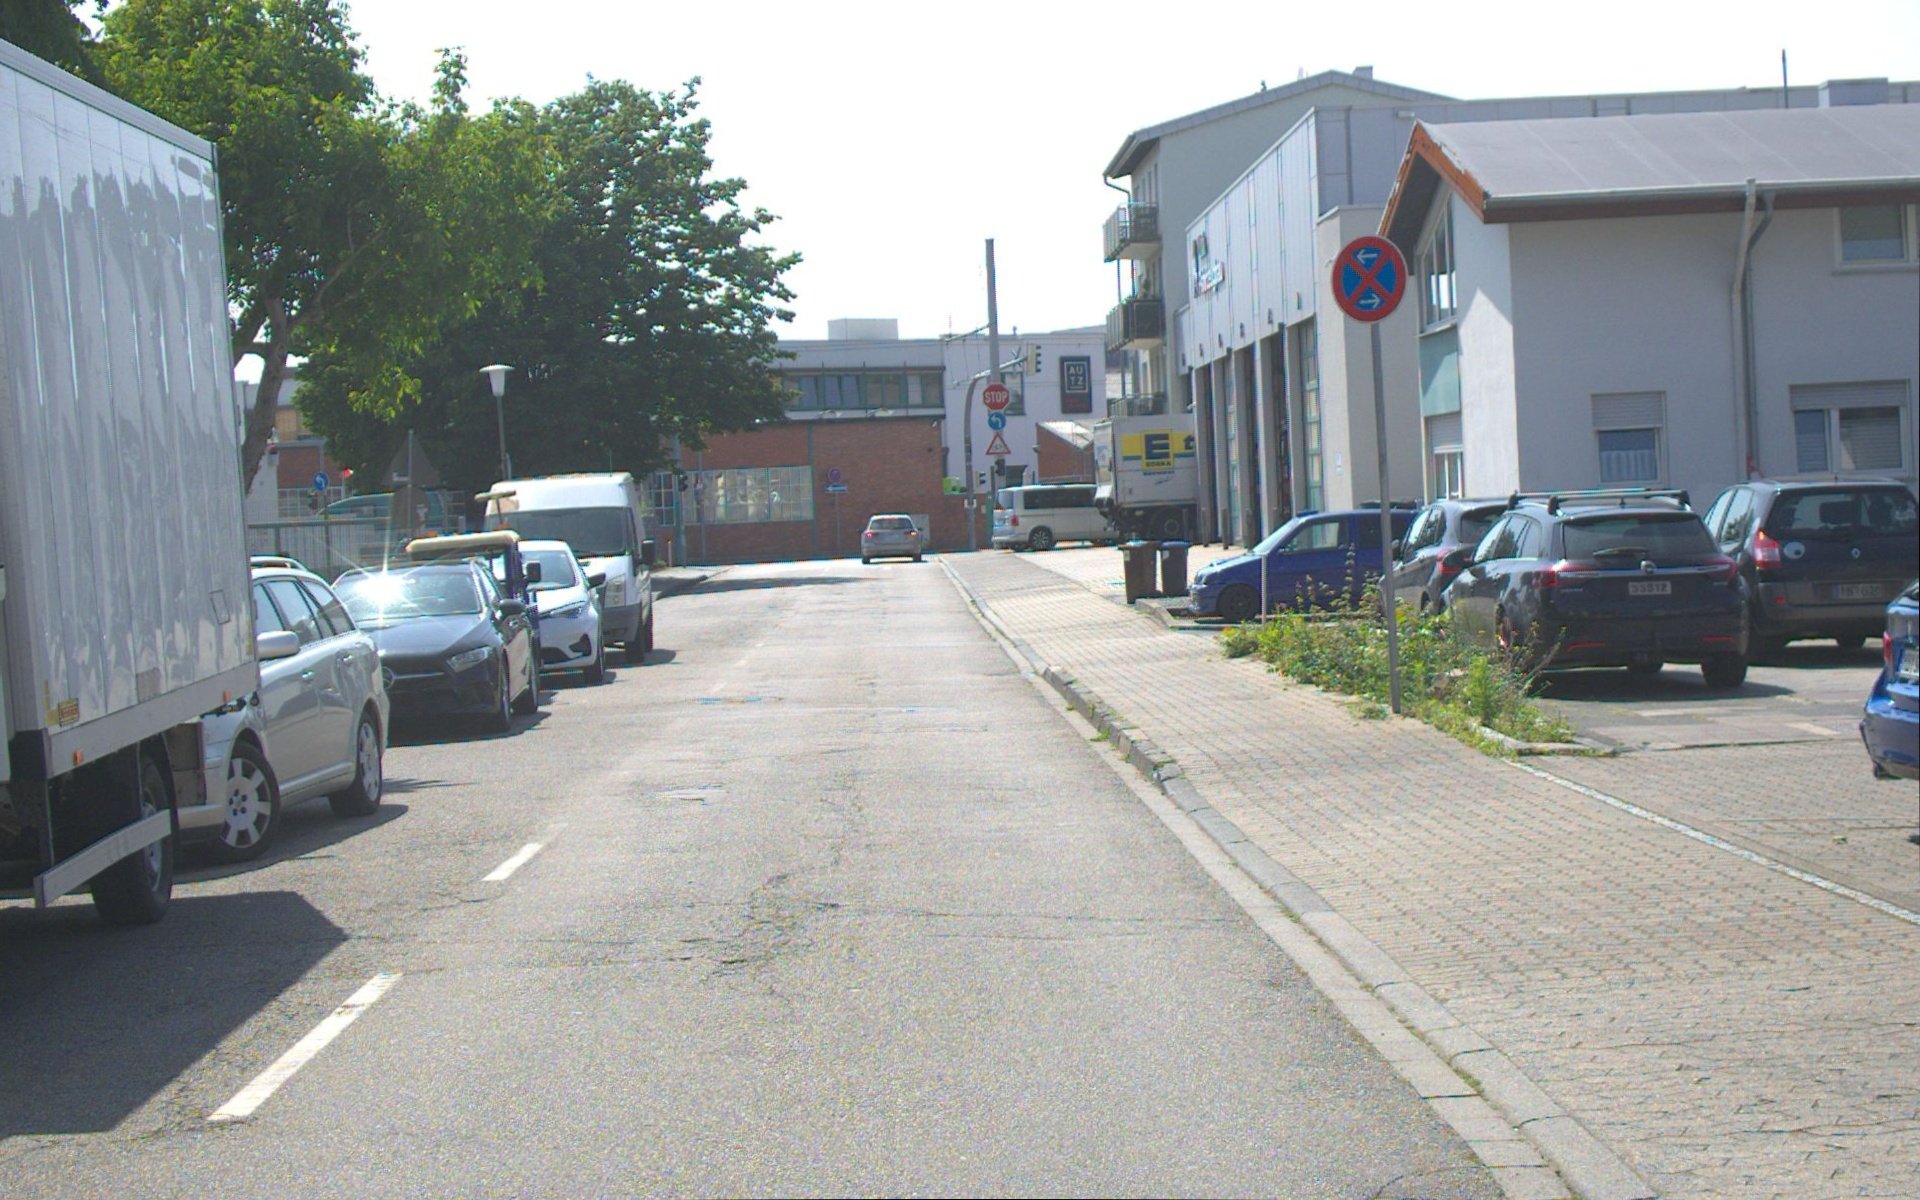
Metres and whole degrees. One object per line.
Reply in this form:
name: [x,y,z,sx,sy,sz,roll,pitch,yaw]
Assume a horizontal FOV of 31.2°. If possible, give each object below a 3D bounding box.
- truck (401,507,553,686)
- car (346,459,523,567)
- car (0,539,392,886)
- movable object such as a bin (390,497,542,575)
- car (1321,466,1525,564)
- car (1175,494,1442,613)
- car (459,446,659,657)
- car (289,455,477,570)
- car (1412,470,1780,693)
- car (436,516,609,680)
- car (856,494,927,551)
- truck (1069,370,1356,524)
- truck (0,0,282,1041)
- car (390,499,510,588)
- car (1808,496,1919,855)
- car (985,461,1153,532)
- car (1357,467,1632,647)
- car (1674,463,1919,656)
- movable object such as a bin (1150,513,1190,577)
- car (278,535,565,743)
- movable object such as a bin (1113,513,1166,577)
truck: [-4.800,-0.075,34.410,1.138,1.616,3.142,-4,2,-3]
car: [-13.086,-2.178,85.774,4.085,2.504,1.777,-2,2,-3]
car: [-4.217,0.499,18.202,1.741,1.516,4.311,-2,2,-1]
movable object such as a bin: [-10.585,-1.391,73.843,2.627,1.505,2.728,-3,2,5]
car: [8.215,-1.510,60.820,1.777,1.534,3.694,-1,3,41]
car: [4.531,-0.624,44.995,3.253,1.394,1.673,-2,2,0]
car: [-4.960,-0.589,43.182,2.005,2.358,5.230,-4,0,-3]
car: [-13.564,-2.068,80.944,4.085,2.504,1.777,-2,2,-3]
car: [4.996,-0.214,27.711,1.858,1.562,4.952,-2,2,-2]
car: [-4.788,-0.072,38.022,1.704,1.618,3.974,-4,2,-6]
car: [-2.112,-2.366,105.191,1.890,1.679,3.959,1,1,-5]
truck: [7.027,-4.275,96.205,7.358,3.632,2.768,-5,2,-7]
truck: [-4.413,-0.292,12.177,2.685,3.354,7.131,-3,1,-2]
car: [-9.652,-1.103,65.259,1.814,1.525,3.676,-3,2,-3]
car: [6.009,0.208,14.440,4.352,1.436,1.892,-2,1,-1]
car: [3.319,-3.150,104.517,4.653,1.951,1.917,-3,2,-20]
car: [5.074,-0.458,33.166,1.811,1.553,4.293,-2,2,-2]
car: [7.565,-0.404,30.594,1.759,1.589,3.619,1,2,2]
movable object such as a bin: [3.236,-0.852,53.037,0.514,0.943,0.487,-2,2,11]
car: [-4.379,0.264,28.524,1.704,1.458,4.114,-4,2,-1]
movable object such as a bin: [2.750,-0.846,52.619,0.568,0.943,0.556,-2,2,33]
